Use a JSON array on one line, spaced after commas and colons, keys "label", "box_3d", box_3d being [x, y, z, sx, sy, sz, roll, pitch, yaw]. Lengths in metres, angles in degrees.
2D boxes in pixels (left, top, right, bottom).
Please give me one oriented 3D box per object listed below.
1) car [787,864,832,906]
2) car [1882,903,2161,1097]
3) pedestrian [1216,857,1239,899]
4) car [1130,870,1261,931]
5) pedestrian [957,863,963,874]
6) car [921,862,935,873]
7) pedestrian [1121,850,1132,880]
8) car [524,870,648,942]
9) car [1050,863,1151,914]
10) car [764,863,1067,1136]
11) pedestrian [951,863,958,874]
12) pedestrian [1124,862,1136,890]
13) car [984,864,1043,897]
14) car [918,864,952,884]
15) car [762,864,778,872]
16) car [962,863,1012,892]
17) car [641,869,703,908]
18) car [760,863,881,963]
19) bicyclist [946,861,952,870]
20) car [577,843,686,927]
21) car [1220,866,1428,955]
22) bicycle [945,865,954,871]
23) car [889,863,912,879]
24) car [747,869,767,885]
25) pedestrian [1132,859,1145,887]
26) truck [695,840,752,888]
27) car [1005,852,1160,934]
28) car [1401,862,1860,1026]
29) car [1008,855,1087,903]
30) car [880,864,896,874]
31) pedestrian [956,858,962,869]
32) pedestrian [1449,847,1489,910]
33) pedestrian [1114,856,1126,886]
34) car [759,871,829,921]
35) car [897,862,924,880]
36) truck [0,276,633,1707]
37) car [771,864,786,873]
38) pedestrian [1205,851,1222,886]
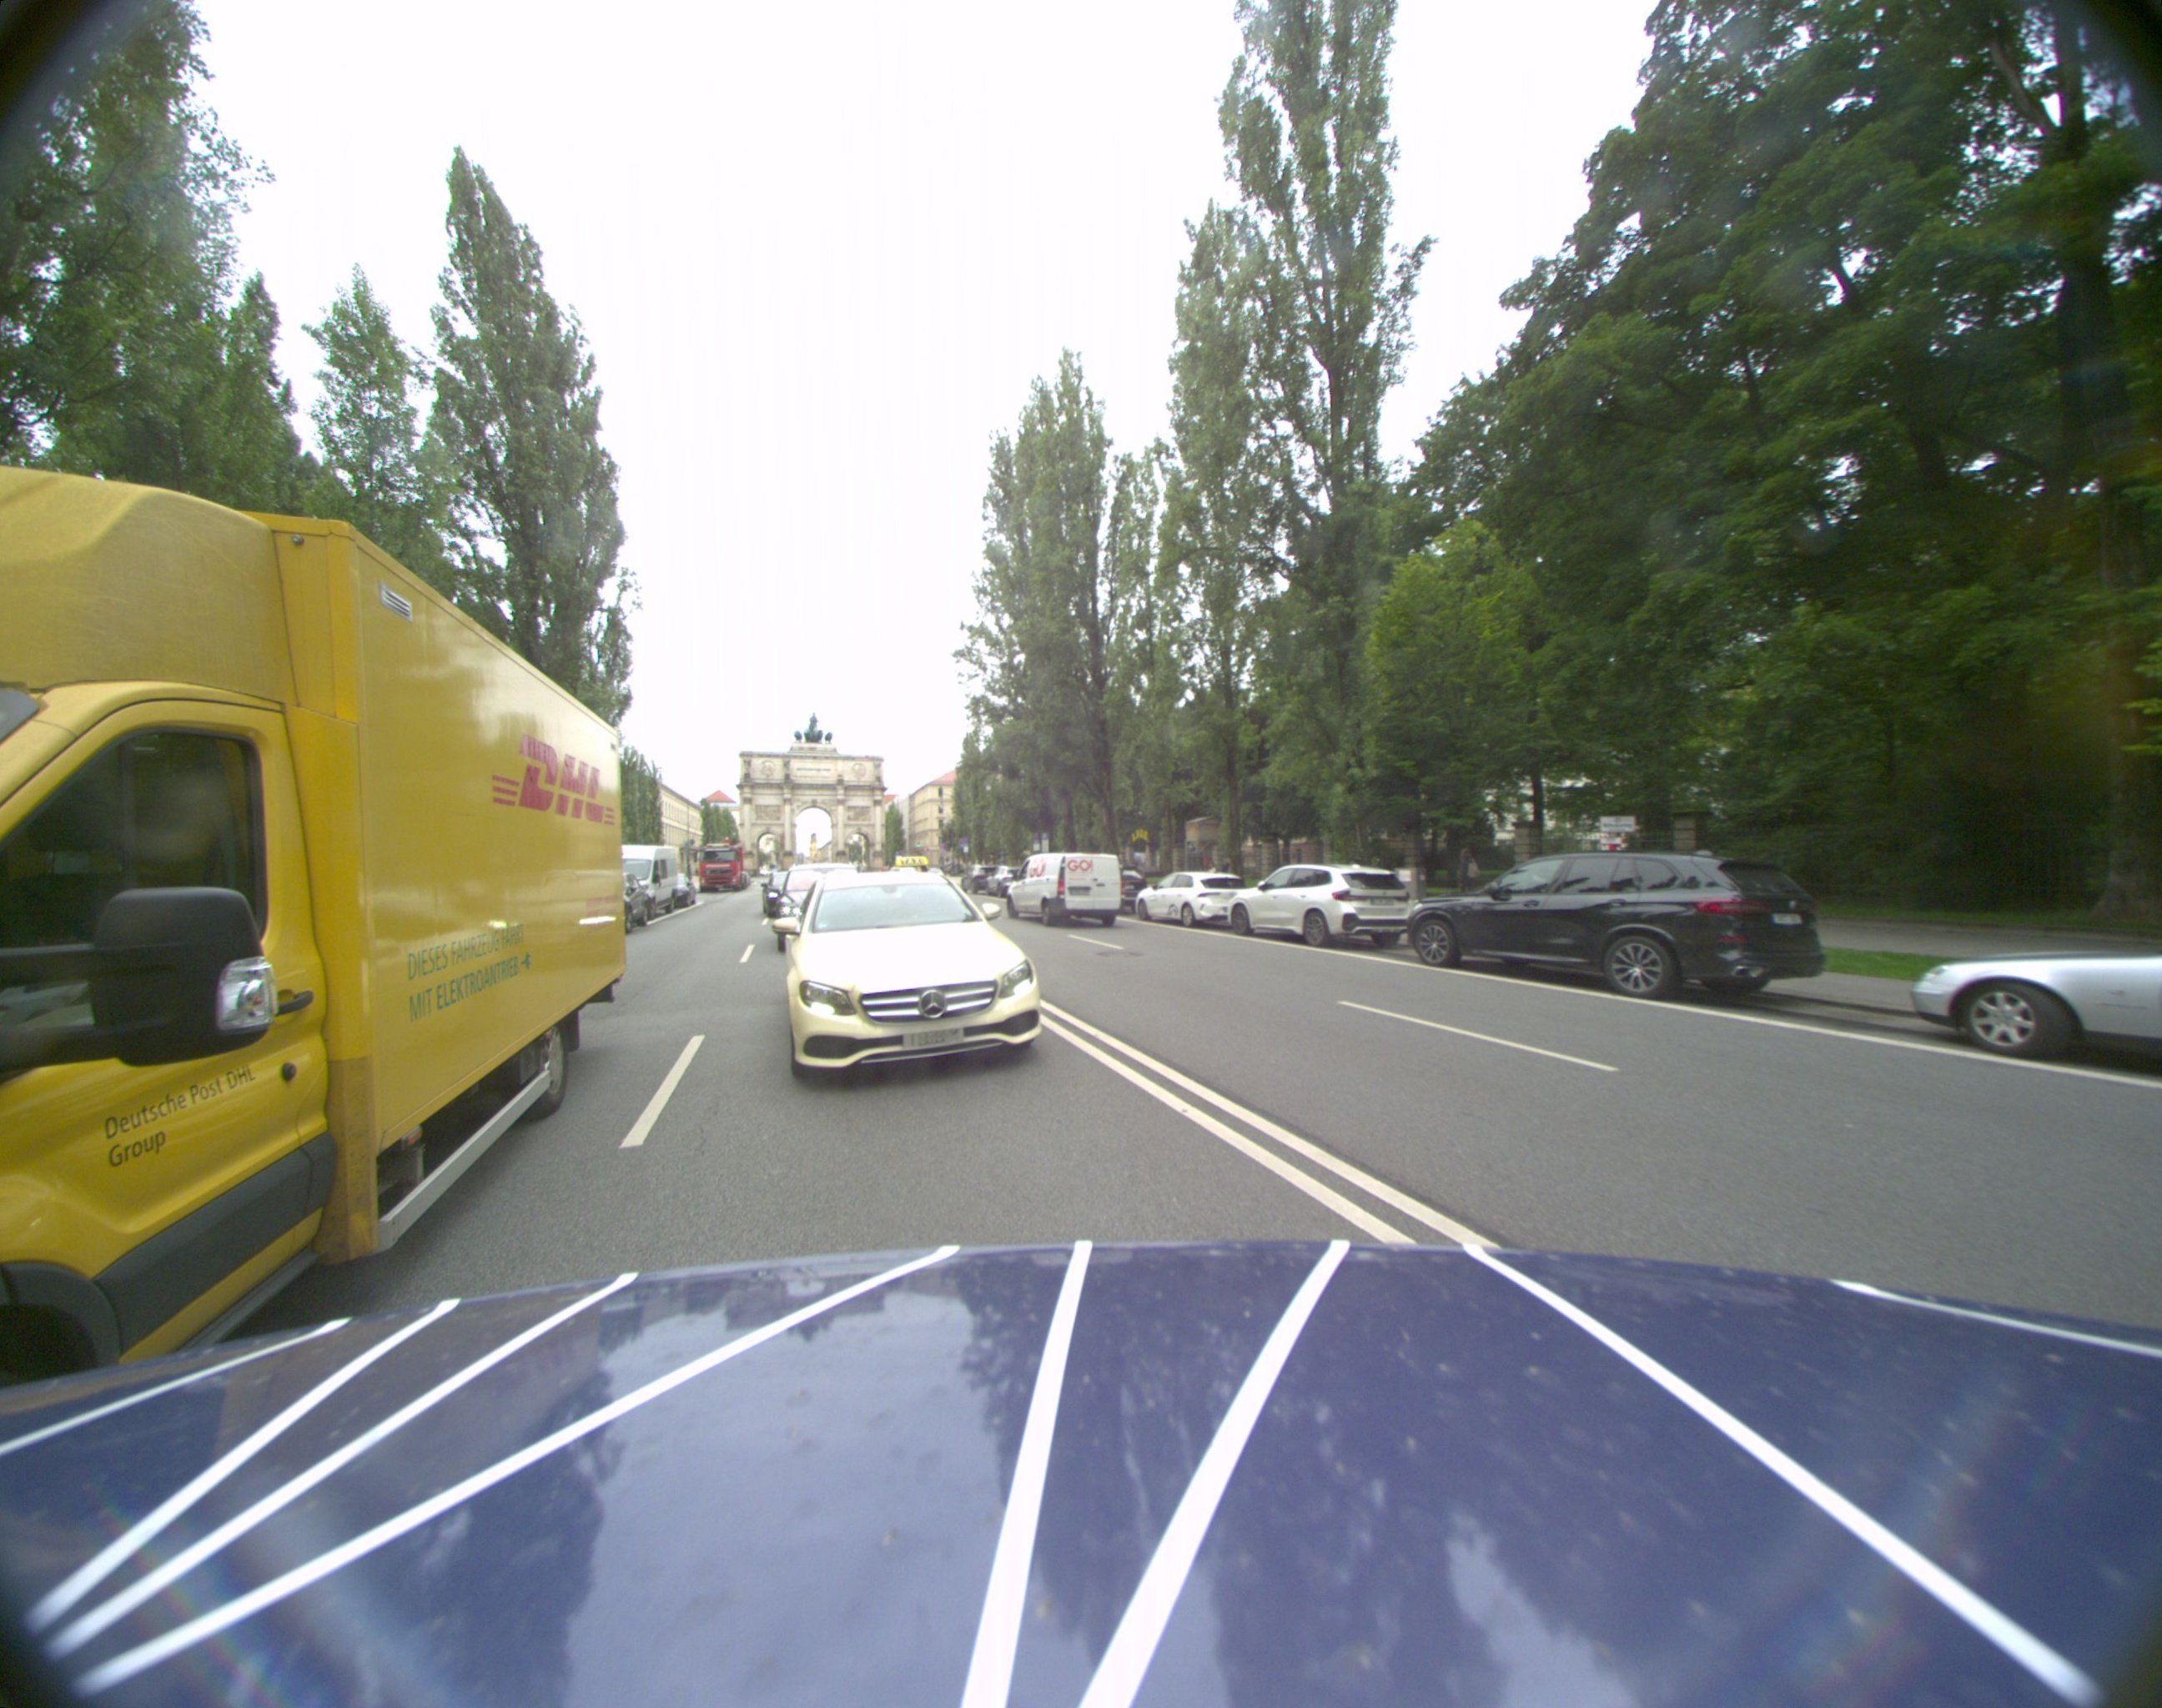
[{"label": "car", "box_3d": [-13.217, 1.448, 37.023, 1.893, 1.846, 4.306, -1, 0, -20]}, {"label": "car", "box_3d": [8.639, 1.092, 5.223, 1.587, 1.297, 4.022, 1, -1, -19]}, {"label": "pedestrian", "box_3d": [6.127, 0.997, 31.819, 0.585, 1.710, 0.785, -2, 0, -22]}, {"label": "car", "box_3d": [2.990, 1.182, 20.777, 1.683, 1.413, 4.230, 1, -1, -20]}, {"label": "pedestrian", "box_3d": [-18.127, 2.160, 114.041, 0.847, 1.668, 0.966, -1, 0, -3]}, {"label": "car", "box_3d": [-28.200, 2.426, 139.967, 2.007, 1.844, 4.982, 0, 0, -18]}, {"label": "pedestrian", "box_3d": [3.028, 0.730, 50.483, 0.552, 1.948, 0.531, -2, 1, -21]}, {"label": "car", "box_3d": [-12.977, 1.265, 20.201, 1.828, 1.581, 4.216, -2, 0, -21]}, {"label": "car", "box_3d": [0.551, 1.153, 26.848, 1.823, 1.599, 5.044, 1, -1, -20]}, {"label": "car", "box_3d": [-1.893, 0.935, 7.223, 1.923, 1.566, 4.680, -3, 1, -22]}, {"label": "pedestrian", "box_3d": [-19.029, 2.186, 114.087, 0.847, 1.668, 0.966, -1, 0, -3]}, {"label": "pedestrian", "box_3d": [2.980, 1.310, 46.091, 0.552, 1.691, 0.531, -2, 1, -21]}, {"label": "car", "box_3d": [-3.564, 1.308, 39.236, 1.899, 1.575, 4.646, 0, -1, -21]}, {"label": "car", "box_3d": [-11.791, 1.604, 61.099, 1.939, 1.488, 4.783, 0, -1, -19]}, {"label": "car", "box_3d": [-66.396, 2.949, 162.200, 1.788, 1.739, 4.319, -1, 0, -4]}, {"label": "car", "box_3d": [-5.464, 1.314, 43.591, 1.790, 1.586, 4.606, 1, -1, -20]}, {"label": "car", "box_3d": [-17.747, 1.459, 33.123, 1.761, 1.441, 3.993, -4, 1, -21]}, {"label": "car", "box_3d": [-5.378, 1.045, 15.590, 1.956, 1.615, 4.404, -3, 1, -20]}, {"label": "bicyclist", "box_3d": [-21.577, 1.893, 124.242, 0.694, 1.489, 0.862, -1, 0, 16]}, {"label": "car", "box_3d": [-15.296, 0.970, 26.249, 2.083, 2.464, 6.273, -2, 0, -20]}, {"label": "car", "box_3d": [4.822, 1.046, 15.830, 1.793, 1.579, 4.454, 1, -1, -19]}, {"label": "bicycle", "box_3d": [-21.555, 2.311, 124.295, 0.708, 0.933, 1.737, -2, 0, 16]}, {"label": "car", "box_3d": [-19.327, 1.790, 81.283, 1.826, 1.550, 4.850, 1, -1, -20]}, {"label": "car", "box_3d": [-34.756, 2.429, 81.595, 1.811, 1.619, 3.993, -1, 0, -21]}, {"label": "pedestrian", "box_3d": [3.499, 1.145, 46.388, 0.552, 1.659, 0.531, -2, 1, -21]}, {"label": "truck", "box_3d": [-25.509, 0.713, 54.684, 2.725, 3.091, 10.409, -1, 0, -20]}, {"label": "car", "box_3d": [-0.191, 0.941, 20.494, 2.192, 1.880, 5.685, 1, -1, -22]}, {"label": "car", "box_3d": [6.825, 0.969, 10.200, 1.888, 1.648, 4.710, 2, -1, -21]}, {"label": "car", "box_3d": [-1.549, 1.051, 33.123, 2.002, 1.944, 4.929, 1, -1, -20]}, {"label": "car", "box_3d": [-29.828, 2.314, 117.669, 1.790, 1.646, 4.111, 0, -1, -7]}, {"label": "pedestrian", "box_3d": [-22.646, 1.714, 140.825, 0.754, 2.002, 0.796, -1, 0, 35]}, {"label": "pedestrian", "box_3d": [11.398, 0.706, 22.331, 0.642, 1.804, 0.774, -1, 0, -20]}, {"label": "pedestrian", "box_3d": [2.568, 1.088, 49.852, 0.552, 1.948, 0.531, -2, 1, -21]}, {"label": "car", "box_3d": [-9.544, 1.325, 25.217, 1.925, 1.320, 4.403, -3, 1, -22]}, {"label": "car", "box_3d": [-16.855, 1.641, 74.865, 1.946, 1.615, 4.956, 0, 0, -20]}, {"label": "truck", "box_3d": [-3.944, 0.354, 3.120, 2.337, 2.881, 7.320, -1, 0, -21]}, {"label": "car", "box_3d": [-66.674, 3.166, 167.433, 1.788, 1.739, 4.319, -1, 0, -4]}, {"label": "pedestrian", "box_3d": [6.828, 0.740, 39.061, 0.552, 1.737, 0.671, -2, 1, -21]}]
